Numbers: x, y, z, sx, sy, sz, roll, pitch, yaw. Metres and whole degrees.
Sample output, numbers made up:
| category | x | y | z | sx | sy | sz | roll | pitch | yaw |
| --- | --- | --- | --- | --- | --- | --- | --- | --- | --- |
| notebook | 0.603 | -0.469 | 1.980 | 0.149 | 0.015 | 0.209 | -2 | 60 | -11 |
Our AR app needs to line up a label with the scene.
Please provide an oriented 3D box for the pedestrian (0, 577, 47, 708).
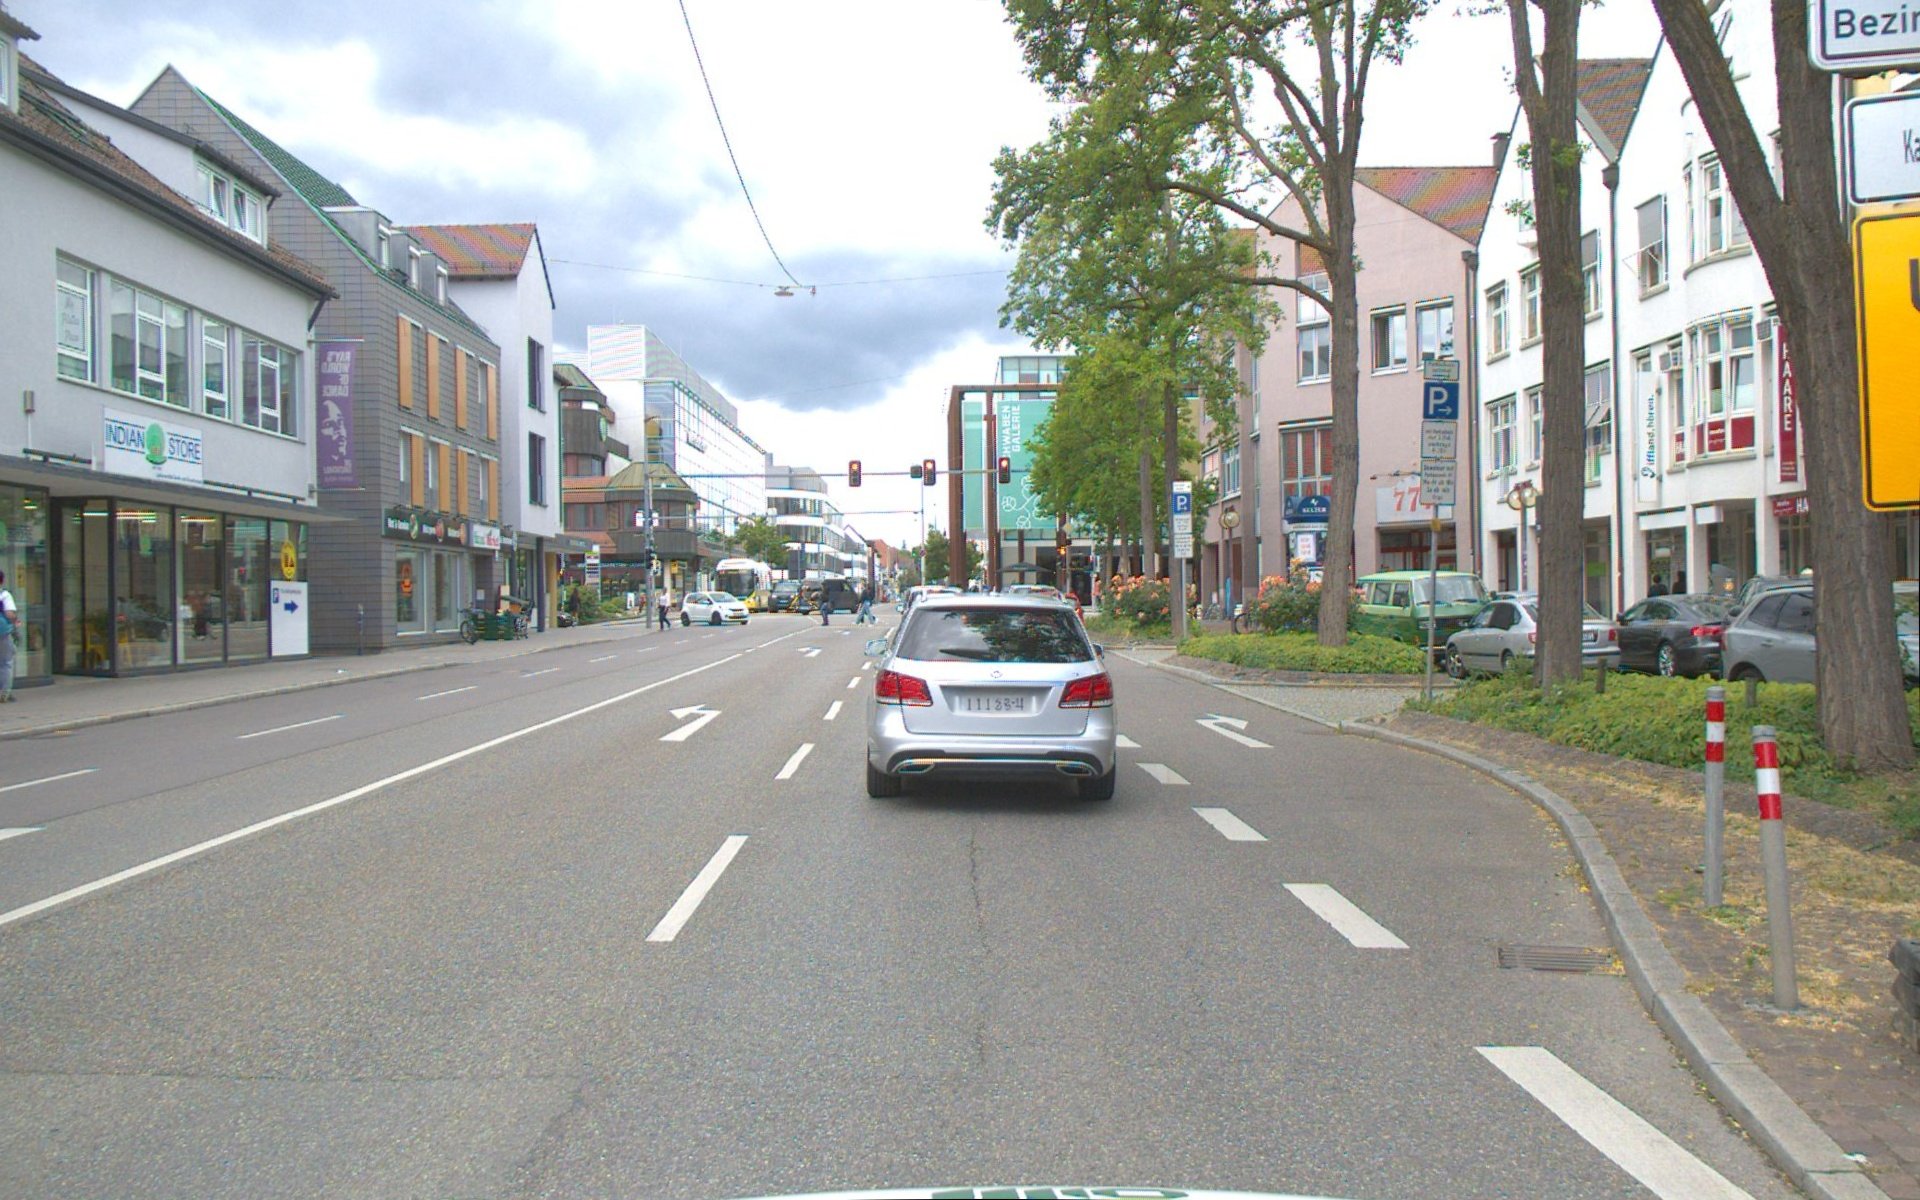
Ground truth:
| category | x | y | z | sx | sy | sz | roll | pitch | yaw |
| --- | --- | --- | --- | --- | --- | --- | --- | --- | --- |
| pedestrian | -12.587 | 0.535 | 21.622 | 0.801 | 1.663 | 0.979 | 1 | 0 | -7 |

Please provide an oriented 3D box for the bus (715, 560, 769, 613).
| category | x | y | z | sx | sy | sz | roll | pitch | yaw |
| --- | --- | --- | --- | --- | --- | --- | --- | --- | --- |
| bus | -13.814 | -0.855 | 105.256 | 2.719 | 3.220 | 5.932 | -1 | 0 | -1 |

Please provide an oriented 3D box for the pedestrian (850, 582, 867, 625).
| category | x | y | z | sx | sy | sz | roll | pitch | yaw |
| --- | --- | --- | --- | --- | --- | --- | --- | --- | --- |
| pedestrian | -3.966 | 0.121 | 64.740 | 0.601 | 1.663 | 0.587 | 2 | 0 | -5 |

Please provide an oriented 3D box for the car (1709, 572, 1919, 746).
| category | x | y | z | sx | sy | sz | roll | pitch | yaw |
| --- | --- | --- | --- | --- | --- | --- | --- | --- | --- |
| car | 9.967 | 0.540 | 17.395 | 1.843 | 1.667 | 4.495 | -1 | 0 | -5 |

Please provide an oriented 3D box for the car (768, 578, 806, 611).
| category | x | y | z | sx | sy | sz | roll | pitch | yaw |
| --- | --- | --- | --- | --- | --- | --- | --- | --- | --- |
| car | -10.847 | -0.350 | 104.046 | 1.953 | 2.049 | 3.999 | -1 | 0 | -1 |

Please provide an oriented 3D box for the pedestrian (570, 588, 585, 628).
| category | x | y | z | sx | sy | sz | roll | pitch | yaw |
| --- | --- | --- | --- | --- | --- | --- | --- | --- | --- |
| pedestrian | -16.676 | 0.347 | 72.062 | 0.576 | 1.699 | 0.639 | 2 | 1 | -14 |

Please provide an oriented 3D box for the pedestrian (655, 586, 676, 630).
| category | x | y | z | sx | sy | sz | roll | pitch | yaw |
| --- | --- | --- | --- | --- | --- | --- | --- | --- | --- |
| pedestrian | -11.183 | 0.298 | 62.889 | 0.605 | 1.663 | 0.583 | 2 | 0 | -26 |

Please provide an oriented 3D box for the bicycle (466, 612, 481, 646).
| category | x | y | z | sx | sy | sz | roll | pitch | yaw |
| --- | --- | --- | --- | --- | --- | --- | --- | --- | --- |
| bicycle | -13.568 | 0.809 | 46.139 | 0.268 | 0.906 | 1.225 | -1 | 0 | -10 |

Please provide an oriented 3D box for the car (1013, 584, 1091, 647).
| category | x | y | z | sx | sy | sz | roll | pitch | yaw |
| --- | --- | --- | --- | --- | --- | --- | --- | --- | --- |
| car | 2.348 | 0.390 | 43.100 | 1.719 | 1.547 | 3.999 | 0 | 0 | -1 |

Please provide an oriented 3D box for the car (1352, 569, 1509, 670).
| category | x | y | z | sx | sy | sz | roll | pitch | yaw |
| --- | --- | --- | --- | --- | --- | --- | --- | --- | --- |
| car | 9.438 | 0.362 | 33.500 | 1.830 | 1.897 | 3.997 | -1 | 0 | -4 |

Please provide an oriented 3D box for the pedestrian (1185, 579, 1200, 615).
| category | x | y | z | sx | sy | sz | roll | pitch | yaw |
| --- | --- | --- | --- | --- | --- | --- | --- | --- | --- |
| pedestrian | 10.713 | -0.142 | 76.199 | 0.600 | 1.663 | 0.588 | 2 | 0 | 12 |

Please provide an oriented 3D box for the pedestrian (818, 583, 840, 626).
| category | x | y | z | sx | sy | sz | roll | pitch | yaw |
| --- | --- | --- | --- | --- | --- | --- | --- | --- | --- |
| pedestrian | -5.220 | 0.176 | 65.833 | 0.817 | 1.663 | 0.587 | 2 | 0 | -5 |

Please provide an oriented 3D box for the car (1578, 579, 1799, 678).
| category | x | y | z | sx | sy | sz | roll | pitch | yaw |
| --- | --- | --- | --- | --- | --- | --- | --- | --- | --- |
| car | 12.361 | 0.442 | 28.339 | 1.830 | 1.554 | 3.997 | -1 | 0 | -4 |

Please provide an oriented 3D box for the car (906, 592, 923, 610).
| category | x | y | z | sx | sy | sz | roll | pitch | yaw |
| --- | --- | --- | --- | --- | --- | --- | --- | --- | --- |
| car | -5.319 | 0.124 | 194.230 | 1.953 | 2.049 | 3.999 | -1 | 0 | -2 |

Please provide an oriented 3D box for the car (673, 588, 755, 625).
| category | x | y | z | sx | sy | sz | roll | pitch | yaw |
| --- | --- | --- | --- | --- | --- | --- | --- | --- | --- |
| car | -10.907 | 0.289 | 73.140 | 1.653 | 1.557 | 3.936 | -1 | 0 | -43 |

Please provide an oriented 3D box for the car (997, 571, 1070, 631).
| category | x | y | z | sx | sy | sz | roll | pitch | yaw |
| --- | --- | --- | --- | --- | --- | --- | --- | --- | --- |
| car | 2.179 | 0.004 | 49.930 | 1.953 | 1.713 | 3.999 | -1 | 0 | -1 |

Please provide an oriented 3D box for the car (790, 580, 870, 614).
| category | x | y | z | sx | sy | sz | roll | pitch | yaw |
| --- | --- | --- | --- | --- | --- | --- | --- | --- | --- |
| car | -7.467 | -0.184 | 95.653 | 1.959 | 1.855 | 4.908 | -1 | 0 | 35 |

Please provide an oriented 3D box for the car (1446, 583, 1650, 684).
| category | x | y | z | sx | sy | sz | roll | pitch | yaw |
| --- | --- | --- | --- | --- | --- | --- | --- | --- | --- |
| car | 9.847 | 0.517 | 28.031 | 1.830 | 1.554 | 3.997 | -1 | 0 | -4 |

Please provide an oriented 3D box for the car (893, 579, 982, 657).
| category | x | y | z | sx | sy | sz | roll | pitch | yaw |
| --- | --- | --- | --- | --- | --- | --- | --- | --- | --- |
| car | -0.533 | 0.377 | 38.949 | 1.953 | 1.713 | 3.999 | -1 | 0 | -1 |

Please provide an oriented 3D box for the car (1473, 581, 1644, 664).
| category | x | y | z | sx | sy | sz | roll | pitch | yaw |
| --- | --- | --- | --- | --- | --- | --- | --- | --- | --- |
| car | 12.061 | 0.414 | 33.607 | 1.830 | 1.554 | 3.997 | -1 | 0 | -4 |

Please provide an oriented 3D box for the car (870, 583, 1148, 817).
| category | x | y | z | sx | sy | sz | roll | pitch | yaw |
| --- | --- | --- | --- | --- | --- | --- | --- | --- | --- |
| car | 0.225 | 0.651 | 12.930 | 1.837 | 1.532 | 3.997 | 0 | 0 | -3 |
